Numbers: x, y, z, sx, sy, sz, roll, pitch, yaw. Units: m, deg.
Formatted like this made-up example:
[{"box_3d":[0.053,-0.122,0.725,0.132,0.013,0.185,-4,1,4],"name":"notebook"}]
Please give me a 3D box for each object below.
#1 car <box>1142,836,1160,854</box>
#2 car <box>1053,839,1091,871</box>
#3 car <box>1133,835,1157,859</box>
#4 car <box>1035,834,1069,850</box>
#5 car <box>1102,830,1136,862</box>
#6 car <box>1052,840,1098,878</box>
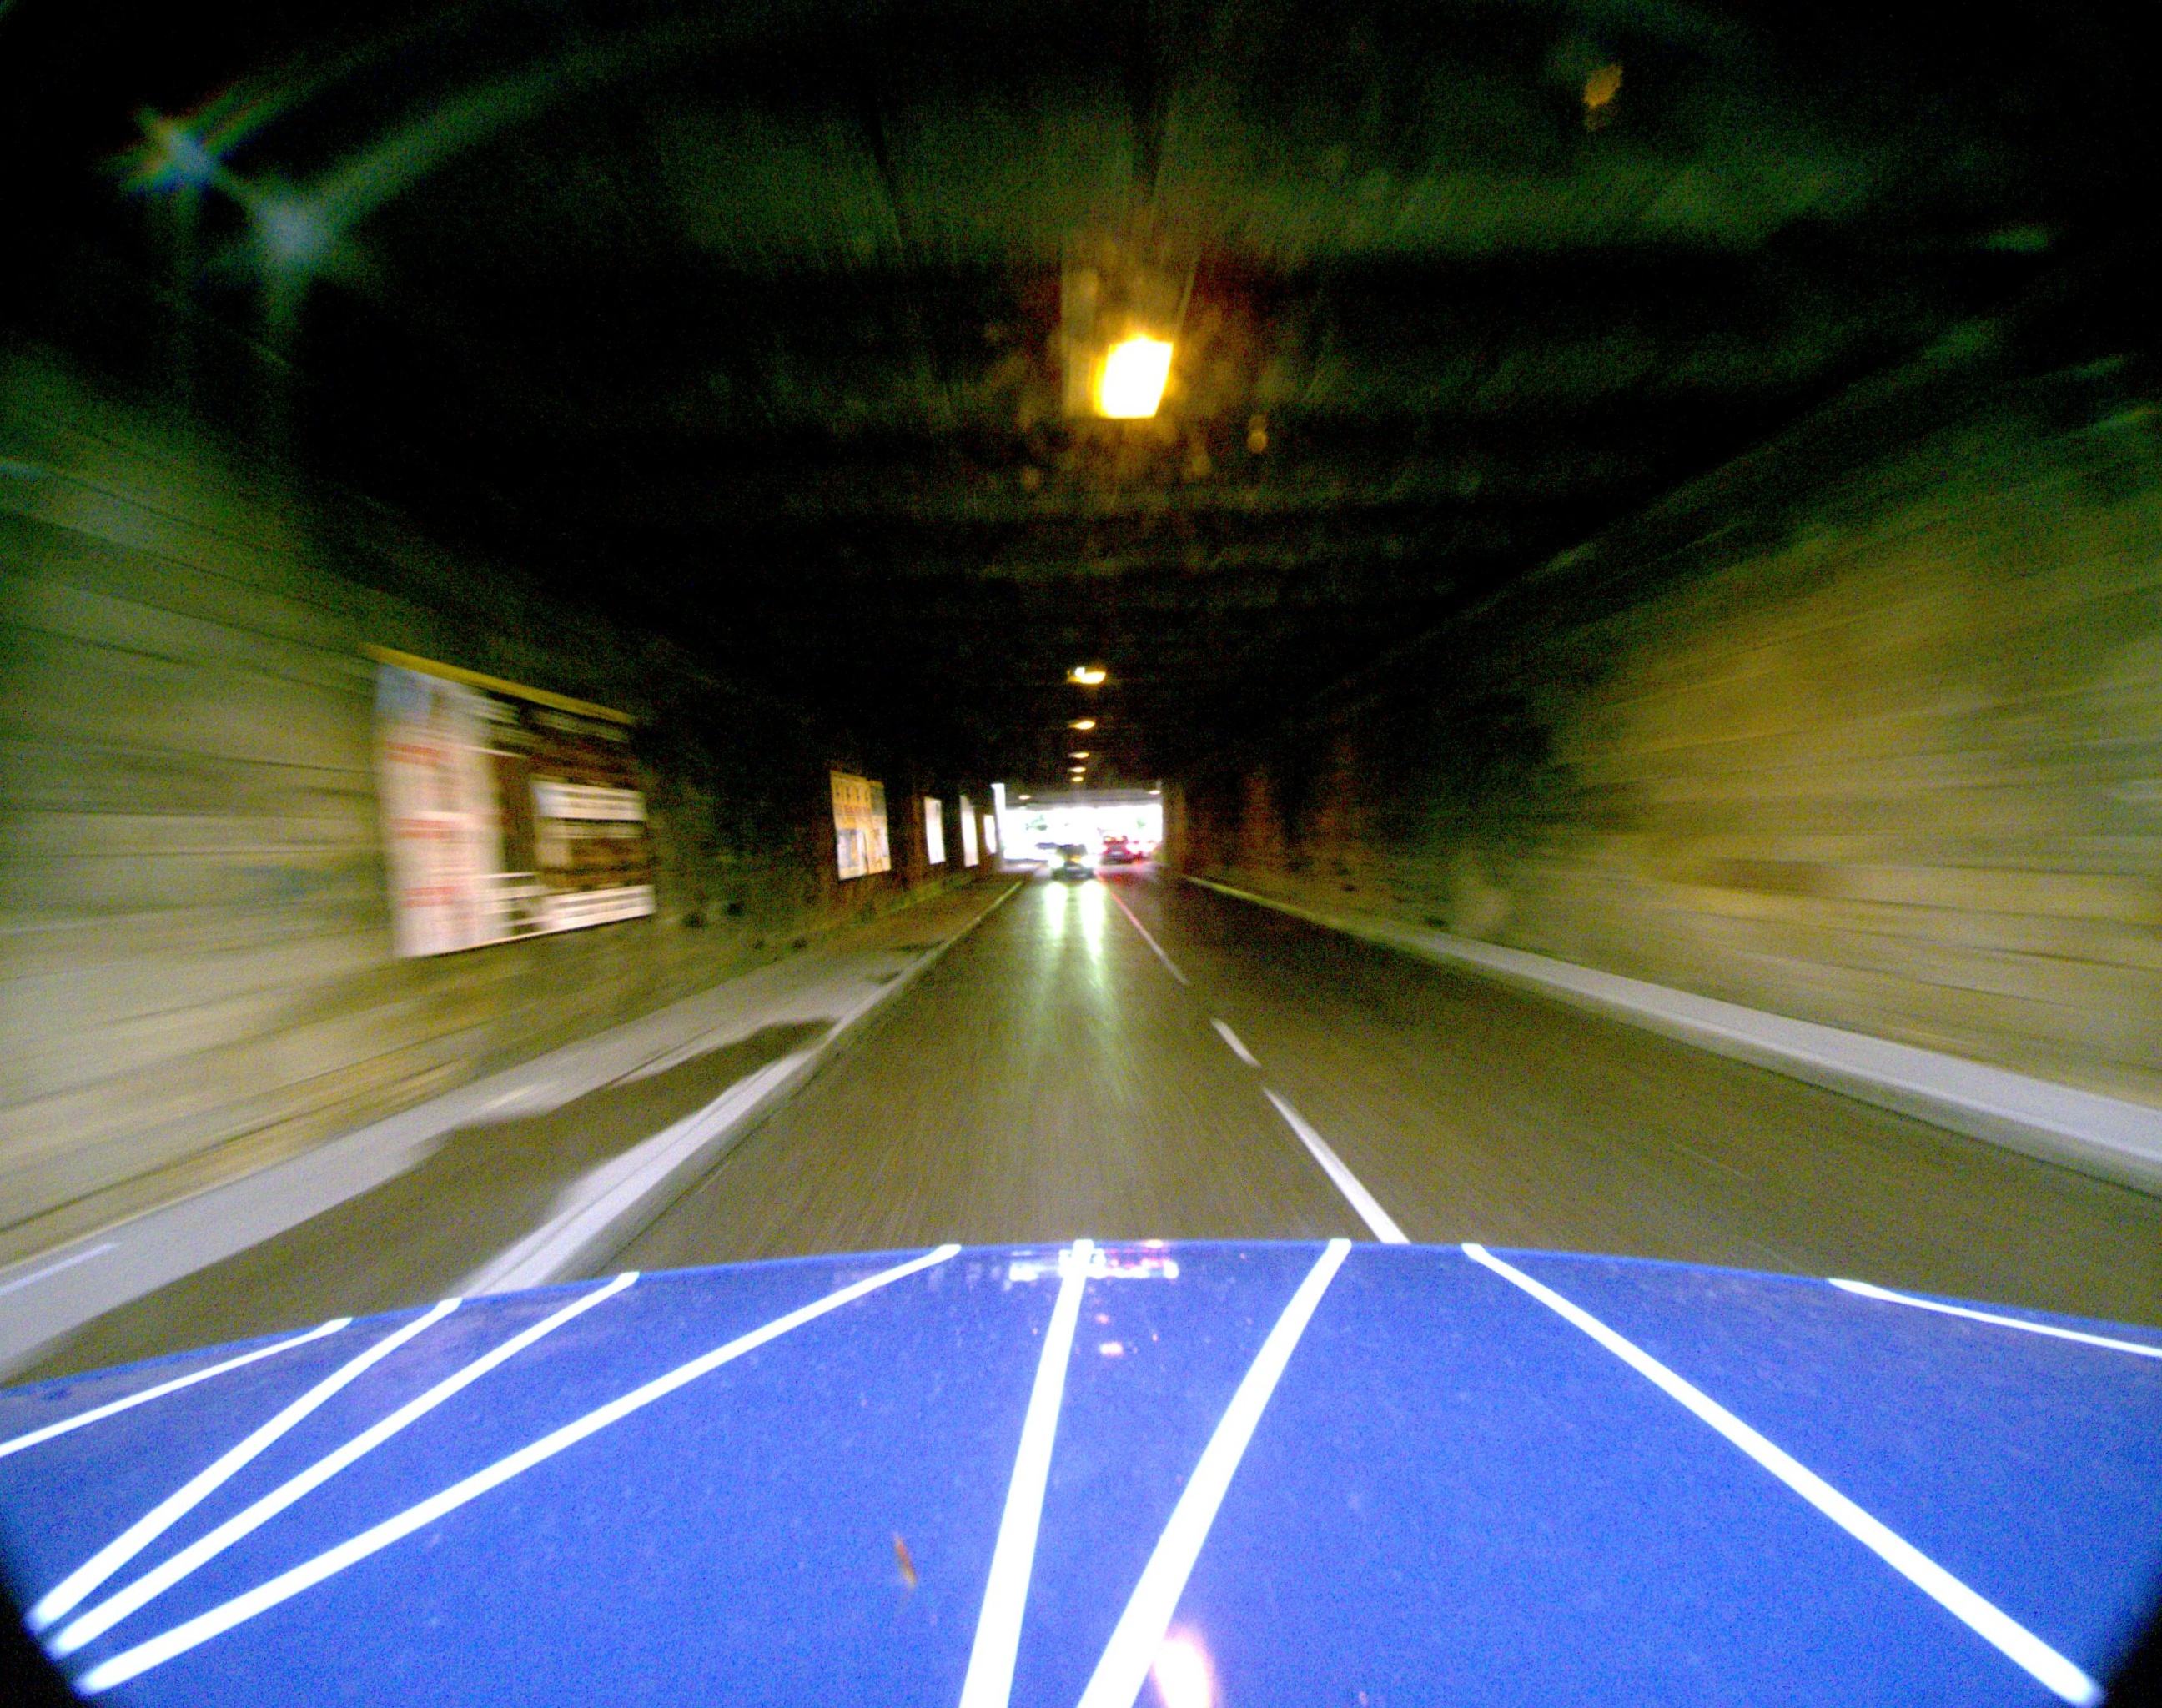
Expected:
[{"box_3d":[5.428,-0.720,59.136,1.277,1.308,3.320,-2,2,4],"name":"car"},{"box_3d":[-0.475,0.002,38.682,1.811,1.509,4.050,-1,2,-1],"name":"car"},{"box_3d":[4.509,-0.512,53.260,1.593,1.533,4.073,-2,2,5],"name":"car"},{"box_3d":[-2.973,-1.222,77.887,3.248,1.449,1.280,-1,2,27],"name":"car"},{"box_3d":[2.343,-0.536,46.162,1.912,1.792,3.999,-2,2,4],"name":"car"},{"box_3d":[-0.289,0.171,32.876,1.811,1.509,4.051,-2,1,-1],"name":"car"}]
